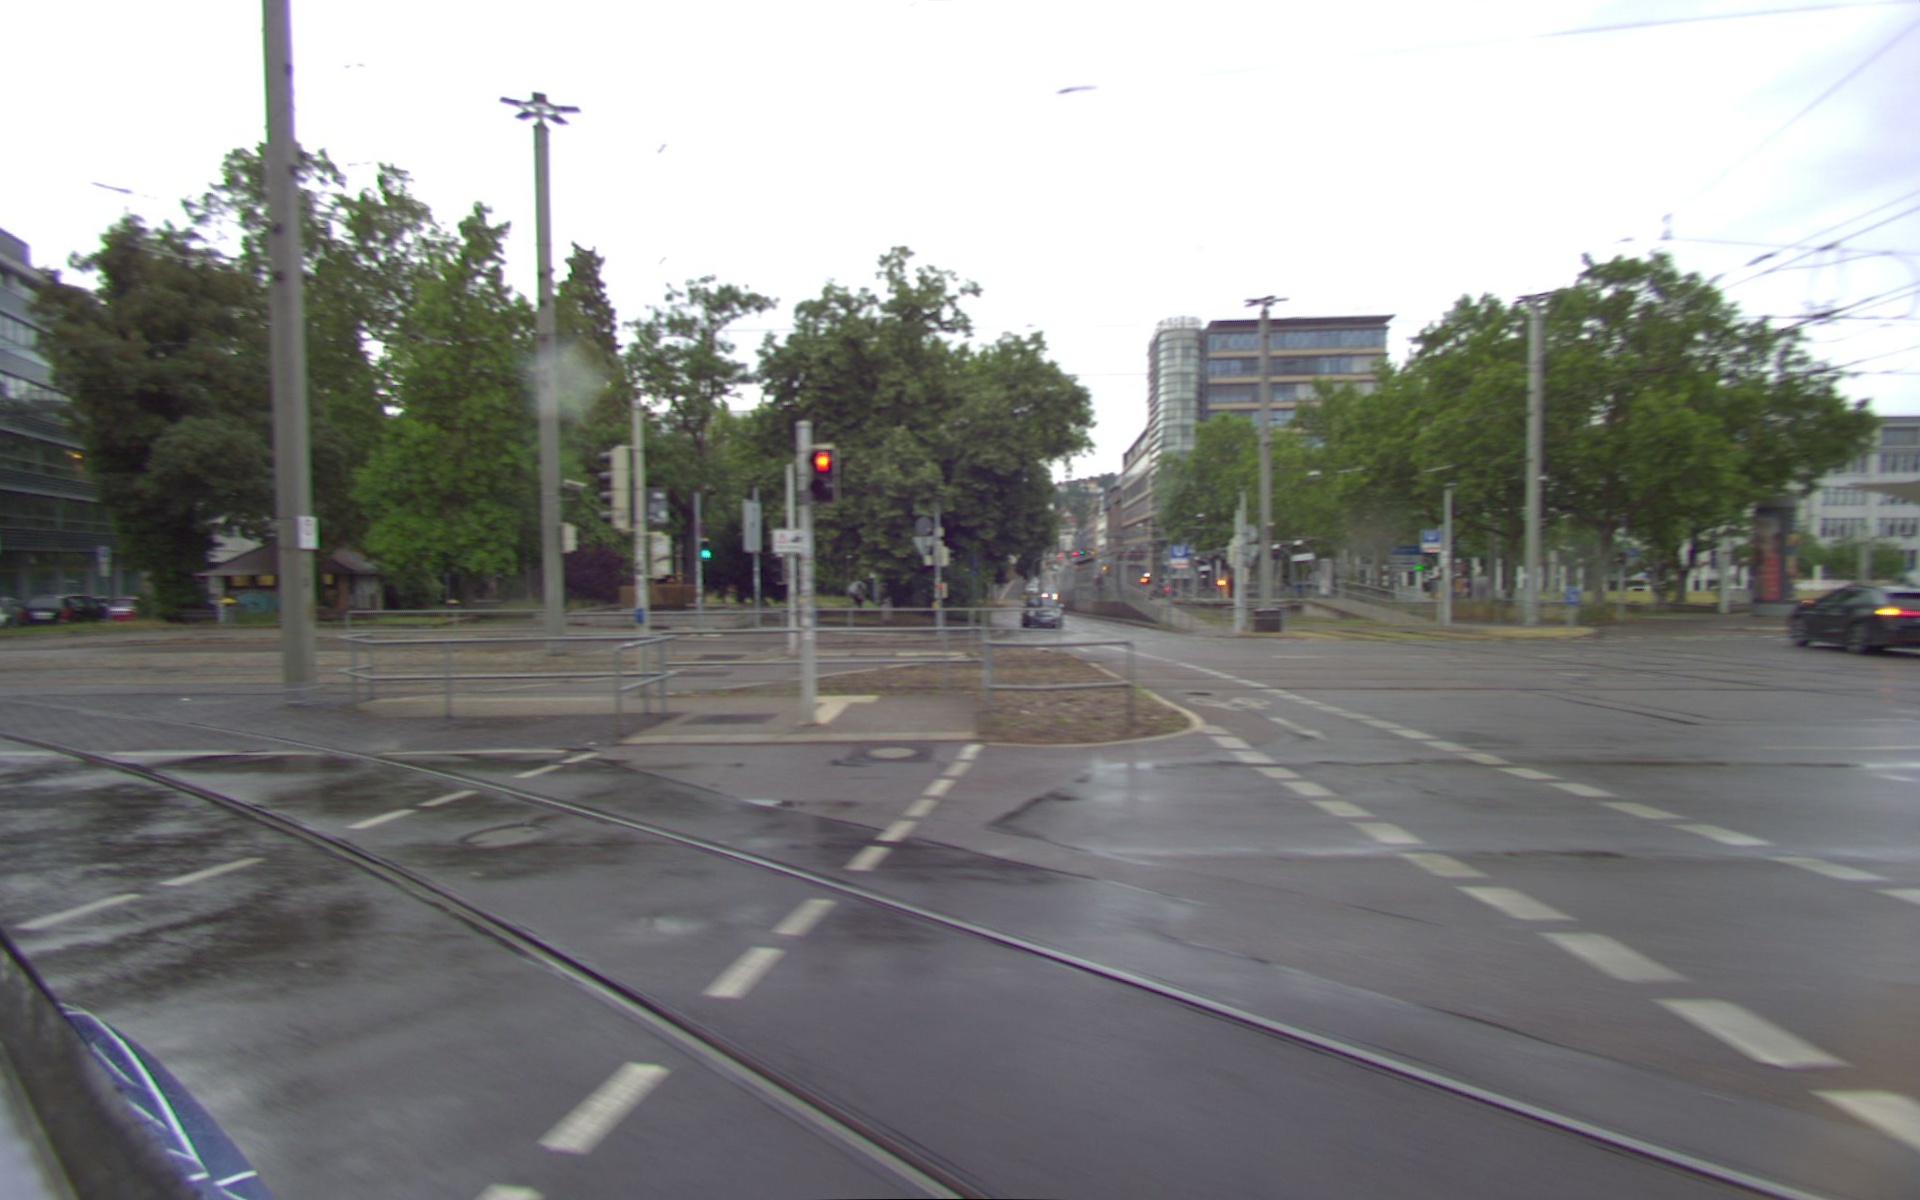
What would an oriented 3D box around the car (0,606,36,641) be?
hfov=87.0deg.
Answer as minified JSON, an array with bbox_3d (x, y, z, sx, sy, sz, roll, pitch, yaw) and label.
[{"bbox_3d":[-45.040,1.076,47.283,1.673,1.566,3.552,-1,0,-24],"label":"car"}]

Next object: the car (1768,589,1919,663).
[{"bbox_3d":[20.735,0.518,22.928,2.087,1.517,4.707,-1,0,16],"label":"car"}]

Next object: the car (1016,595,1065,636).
[{"bbox_3d":[3.569,0.670,45.512,1.973,1.719,3.998,-1,0,1],"label":"car"}]

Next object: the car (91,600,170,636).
[{"bbox_3d":[-35.919,0.734,43.903,1.673,1.459,3.552,-1,0,-23],"label":"car"}]

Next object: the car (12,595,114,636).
[{"bbox_3d":[-34.090,0.542,38.580,1.673,1.459,3.551,-1,0,-19],"label":"car"}]

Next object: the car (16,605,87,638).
[{"bbox_3d":[-46.151,1.051,51.480,1.673,1.566,3.552,-1,0,-24],"label":"car"}]
